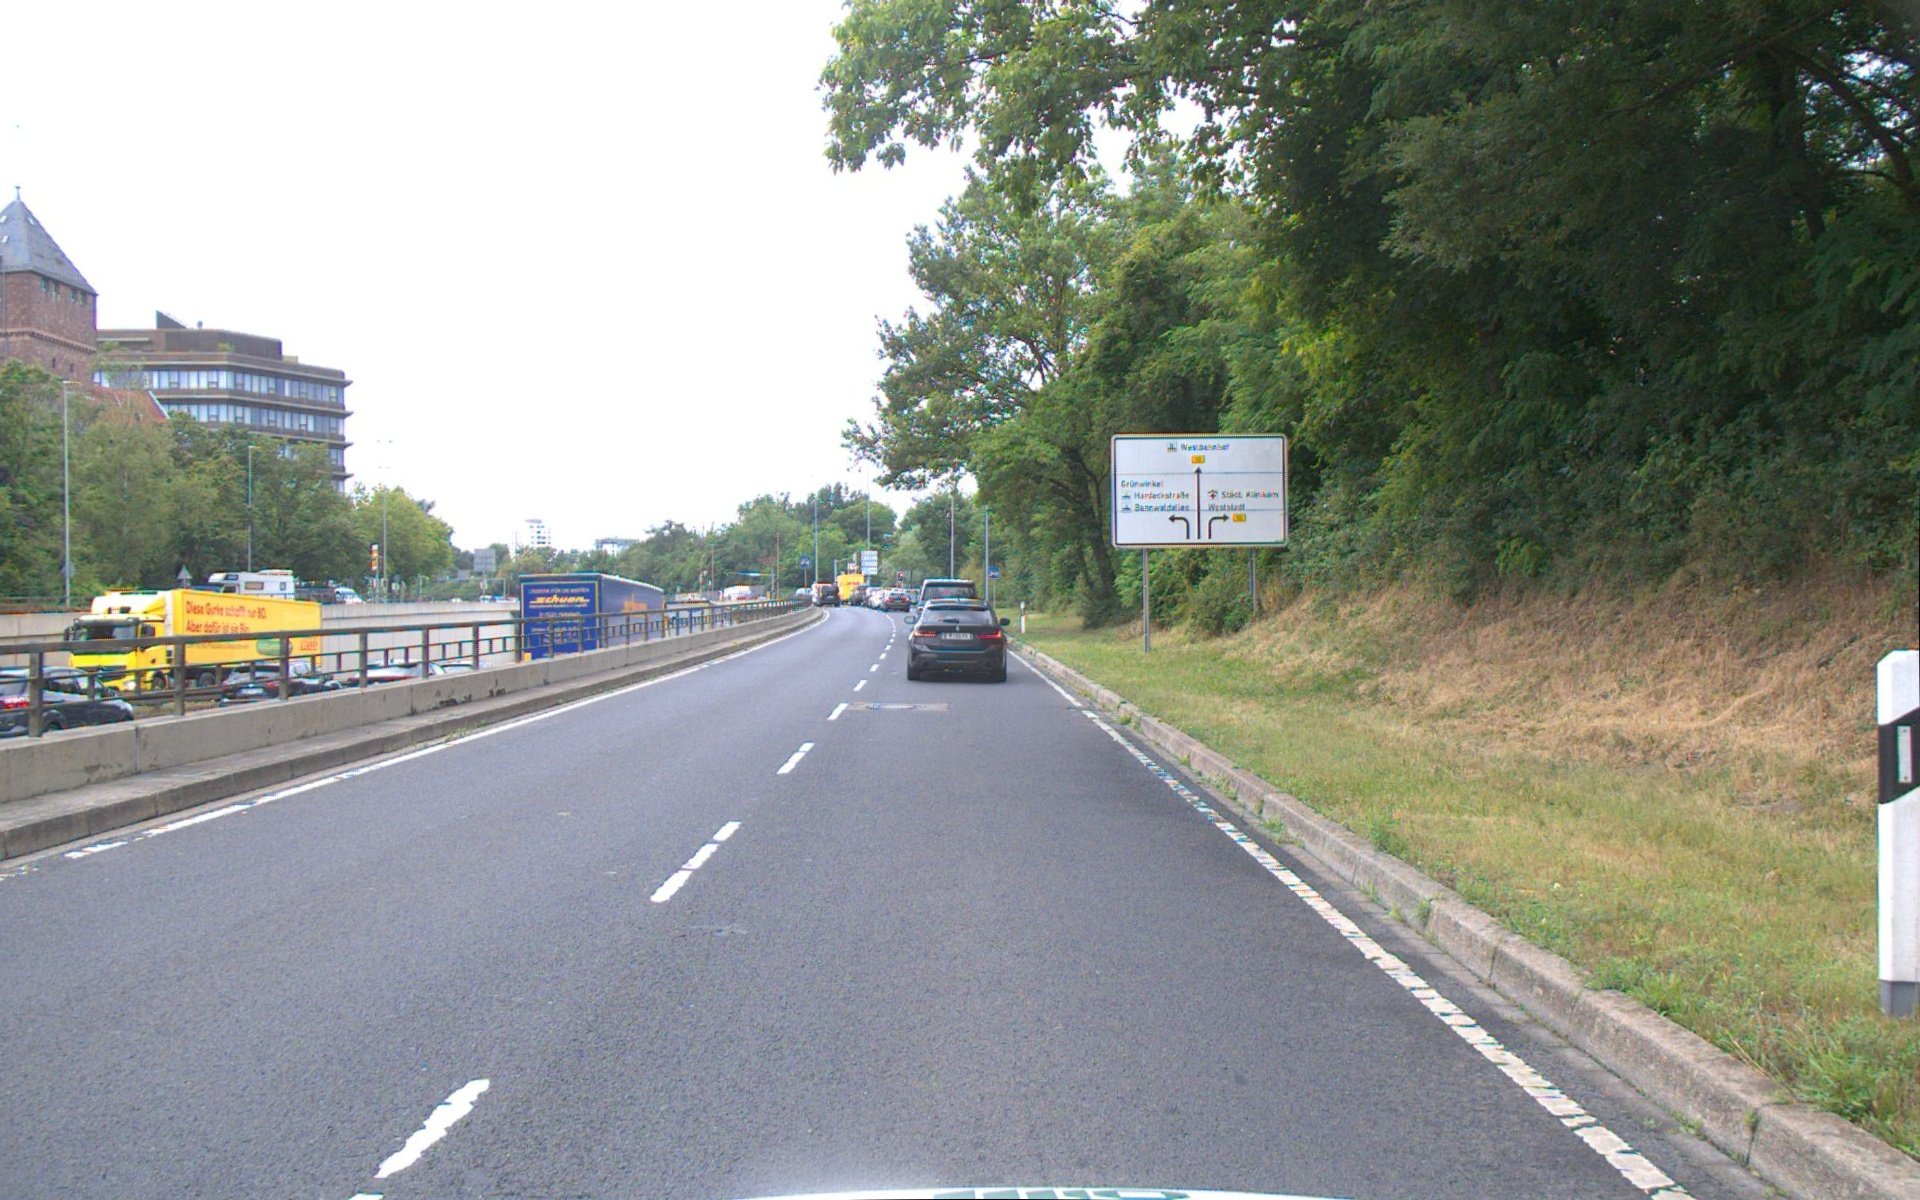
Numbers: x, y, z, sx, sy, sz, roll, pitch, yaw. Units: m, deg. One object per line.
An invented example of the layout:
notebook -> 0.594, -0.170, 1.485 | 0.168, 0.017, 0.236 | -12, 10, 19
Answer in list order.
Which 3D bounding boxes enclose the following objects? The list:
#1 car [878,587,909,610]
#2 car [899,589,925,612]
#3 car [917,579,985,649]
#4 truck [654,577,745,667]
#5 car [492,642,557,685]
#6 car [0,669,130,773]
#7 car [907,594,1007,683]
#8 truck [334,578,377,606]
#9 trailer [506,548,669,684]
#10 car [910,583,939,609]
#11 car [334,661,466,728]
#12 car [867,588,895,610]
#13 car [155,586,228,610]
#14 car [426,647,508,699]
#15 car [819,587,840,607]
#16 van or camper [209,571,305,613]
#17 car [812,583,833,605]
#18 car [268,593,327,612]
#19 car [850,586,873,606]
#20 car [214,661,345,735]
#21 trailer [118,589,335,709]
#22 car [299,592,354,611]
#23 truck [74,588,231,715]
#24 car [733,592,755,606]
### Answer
car -> -4.696, -0.101, 116.731 | 1.849, 1.620, 4.423 | 1, 0, -7
car -> -4.246, 0.063, 145.360 | 1.849, 1.912, 4.423 | 1, 0, -7
car -> -0.273, 0.398, 48.250 | 1.860, 1.917, 4.414 | 1, 0, -1
truck -> -13.119, 1.072, 84.531 | 2.794, 4.107, 15.569 | -1, 0, -3
car -> -17.445, 2.536, 66.434 | 1.590, 1.555, 3.896 | 1, 0, -1
car -> -16.374, 2.079, 29.262 | 1.623, 1.555, 3.893 | 1, 0, -4
car -> -0.037, 0.649, 30.535 | 1.712, 1.451, 4.462 | 0, 1, 0
truck -> -66.418, -0.887, 181.539 | 2.005, 3.039, 6.991 | 1, 0, -41
trailer -> -12.821, 0.547, 58.678 | 2.794, 4.107, 15.996 | -1, 0, -3
car -> -2.823, -0.308, 129.371 | 1.849, 1.912, 4.423 | 1, 0, -7
car -> -12.169, 2.020, 36.154 | 1.622, 1.234, 3.895 | 1, 0, -2
car -> -6.264, -0.068, 130.983 | 1.849, 1.620, 4.423 | 1, 0, -7
car -> -49.162, -0.130, 105.832 | 1.597, 1.466, 3.982 | 1, 0, 37
car -> -16.382, 2.410, 55.126 | 1.590, 1.555, 3.896 | 1, 0, -1
car -> -11.686, -0.291, 147.978 | 1.593, 1.731, 4.288 | 1, 0, -8
van or camper -> -49.942, -0.562, 117.601 | 2.109, 2.859, 5.885 | 1, -1, 43
car -> -12.969, -0.573, 155.904 | 1.849, 2.022, 4.423 | 1, 0, -7
car -> -51.145, 0.202, 127.697 | 1.597, 1.466, 3.982 | 1, 0, 37
car -> -9.086, -0.372, 152.994 | 1.849, 1.730, 4.423 | 1, 0, -7
car -> -16.484, 2.346, 40.272 | 1.590, 1.555, 3.896 | 1, 0, -1
trailer -> -27.831, 1.723, 63.774 | 2.473, 4.107, 13.773 | -1, 0, -1
car -> -51.967, 0.123, 135.755 | 1.597, 1.466, 3.982 | 1, 0, 37
truck -> -27.682, 1.693, 56.981 | 2.473, 4.107, 6.095 | -1, 0, -1
car -> -28.059, -0.158, 214.976 | 1.589, 1.731, 4.300 | 1, 0, 12
